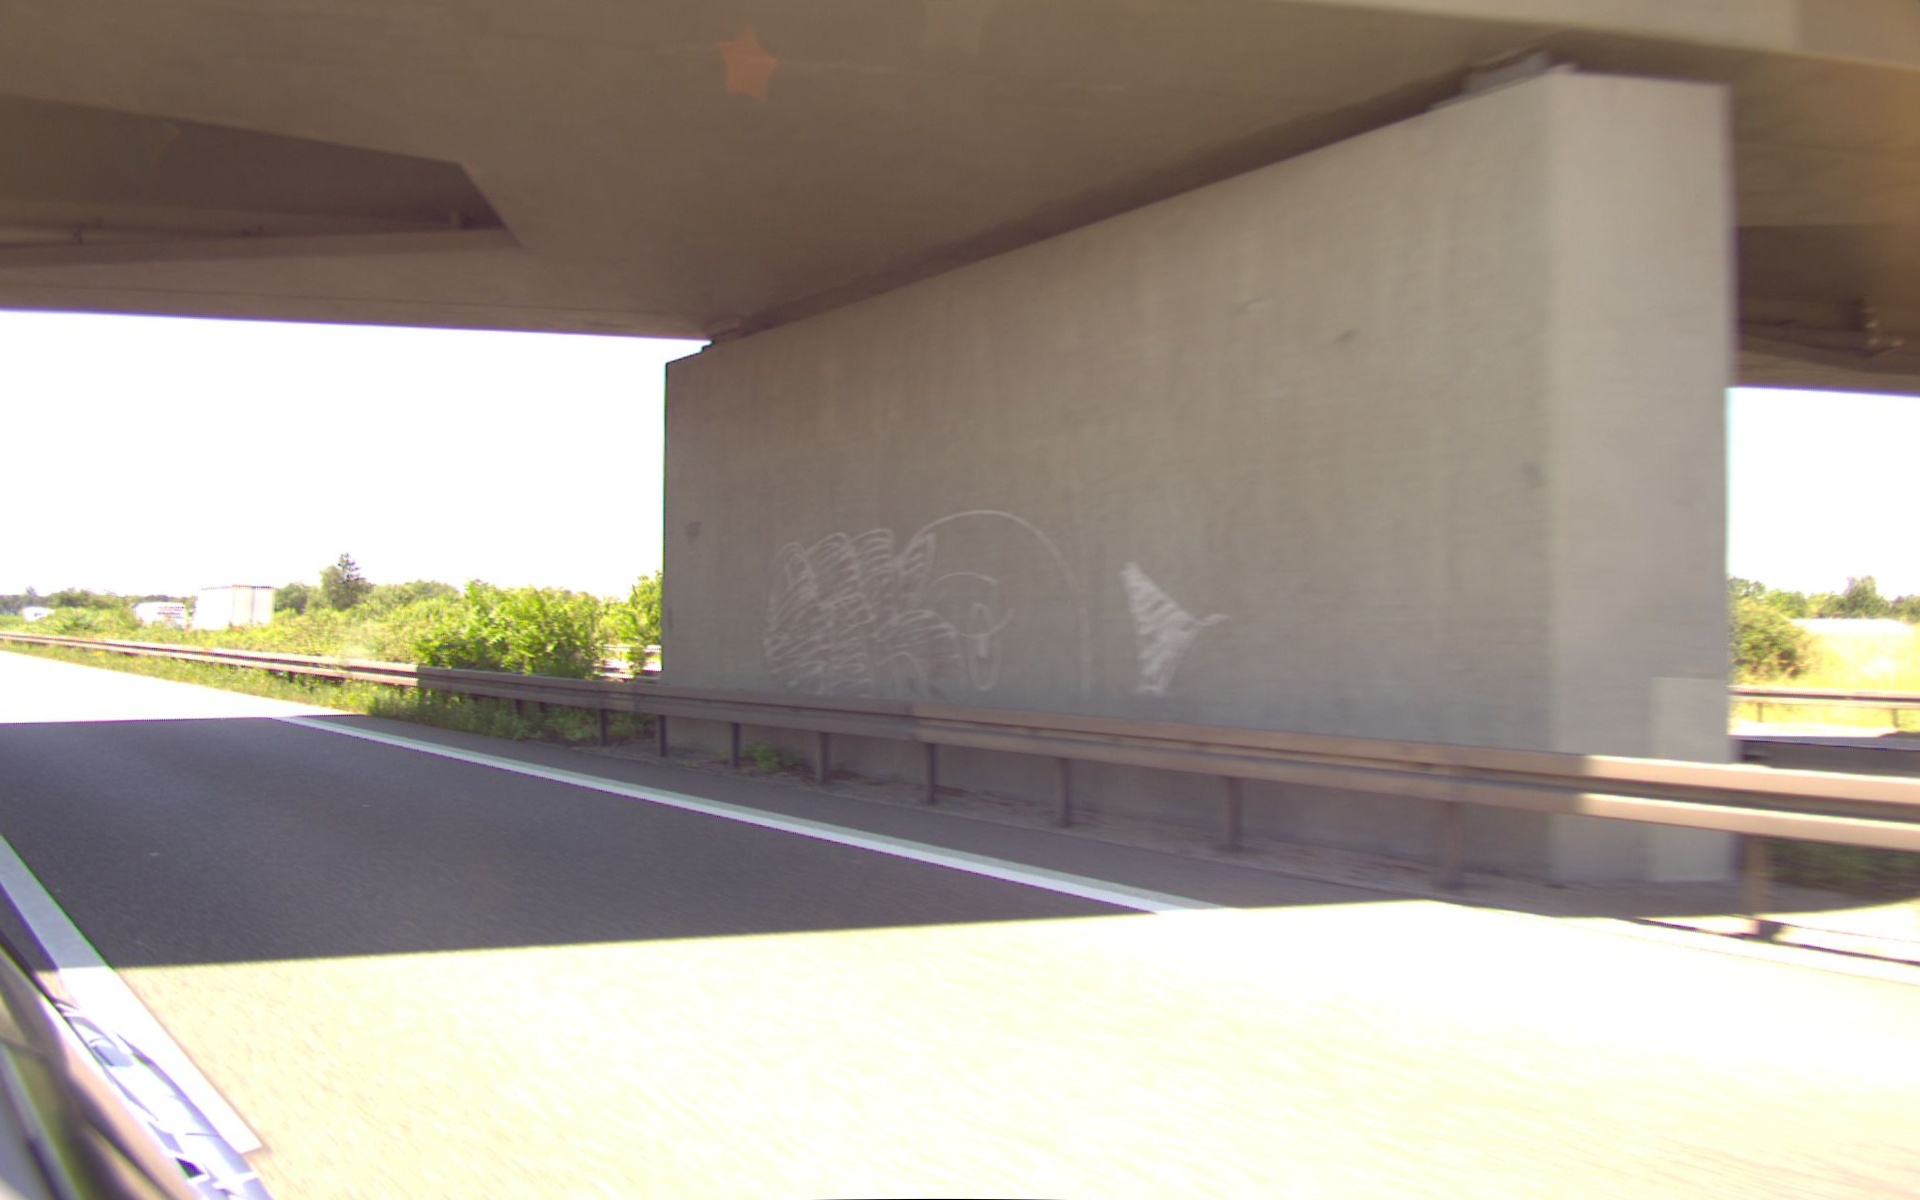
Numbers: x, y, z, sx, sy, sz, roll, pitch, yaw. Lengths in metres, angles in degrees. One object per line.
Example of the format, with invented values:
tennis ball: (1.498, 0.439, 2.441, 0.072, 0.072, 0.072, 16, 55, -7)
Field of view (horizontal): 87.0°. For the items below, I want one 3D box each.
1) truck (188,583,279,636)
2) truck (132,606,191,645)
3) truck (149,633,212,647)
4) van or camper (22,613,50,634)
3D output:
truck: (-51.961, 0.731, 72.194, 10.729, 3.524, 2.848, -1, 0, 41)
truck: (-52.505, 1.663, 66.483, 6.418, 2.417, 1.972, -1, 0, 42)
truck: (-48.170, 2.465, 62.499, 5.217, 0.691, 2.245, -1, 0, 42)
van or camper: (-119.801, 3.072, 131.150, 6.295, 2.564, 1.973, -1, 0, 41)
